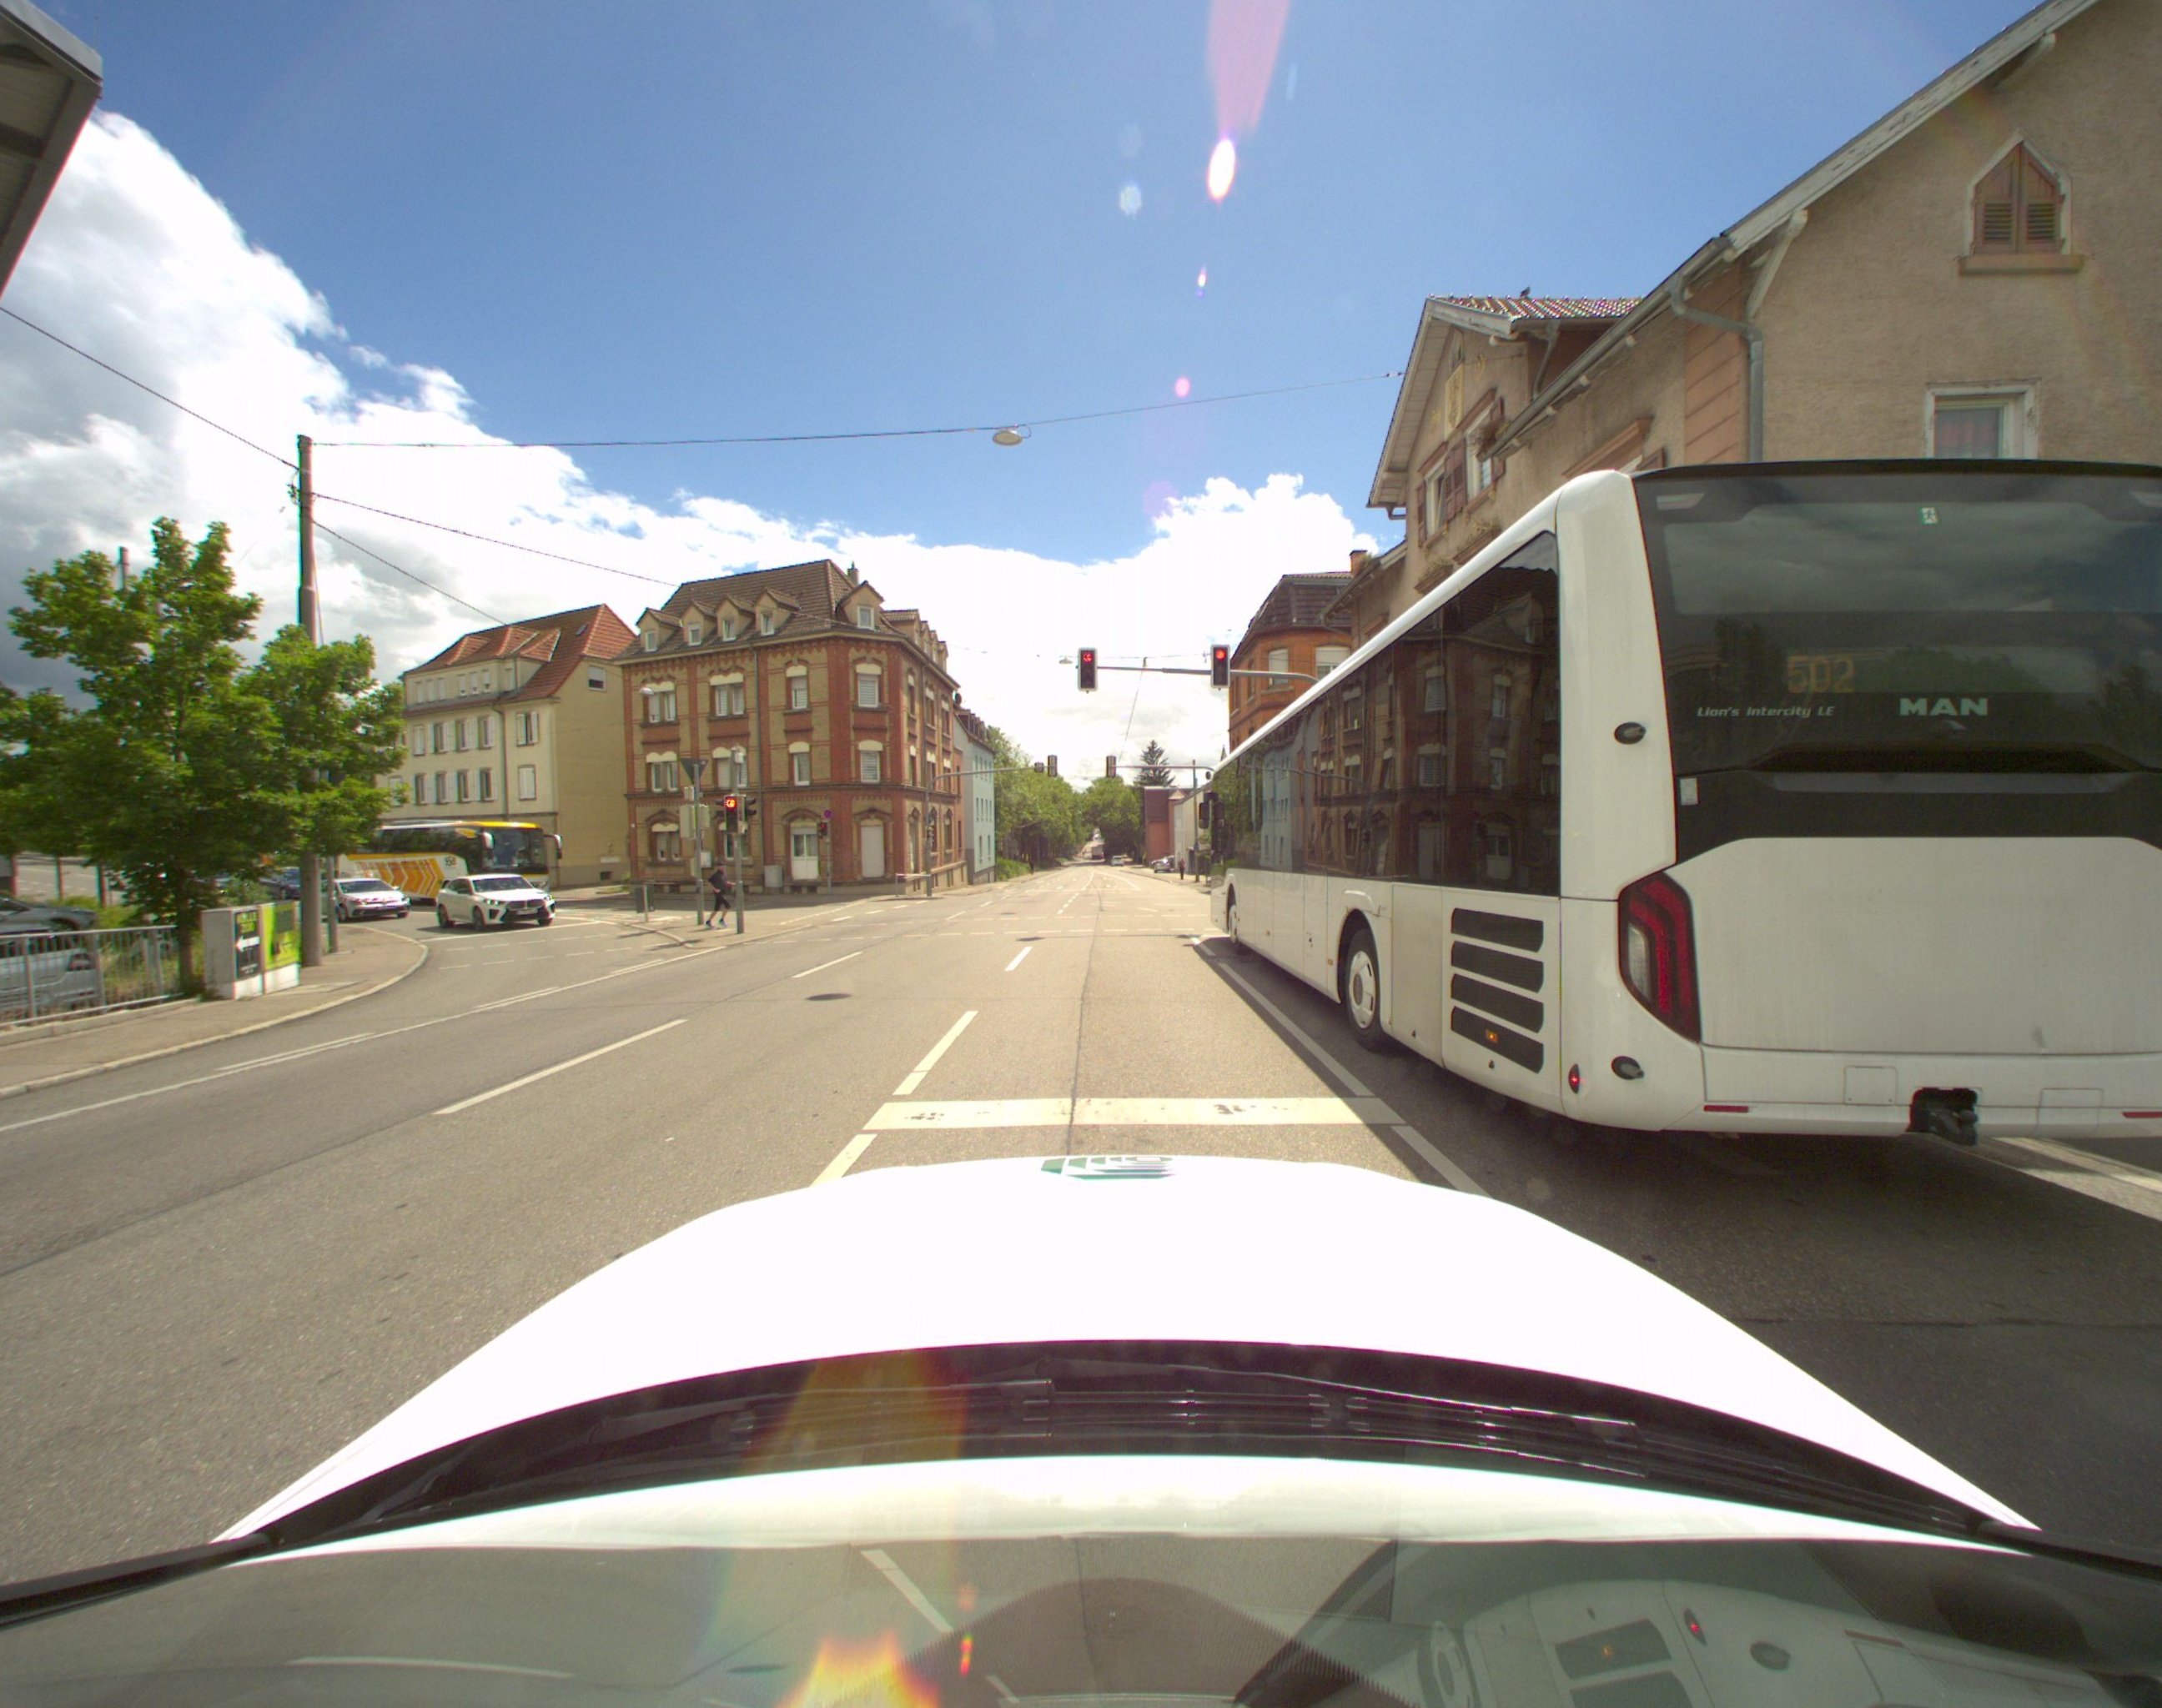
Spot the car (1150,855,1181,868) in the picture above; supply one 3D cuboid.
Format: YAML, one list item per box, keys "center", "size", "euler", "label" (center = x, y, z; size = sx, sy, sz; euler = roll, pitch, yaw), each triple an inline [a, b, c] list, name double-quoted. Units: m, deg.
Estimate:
- center: [11.770, 1.035, 113.077]
  size: [3.978, 1.757, 1.998]
  euler: [-2, 0, -3]
  label: "car"

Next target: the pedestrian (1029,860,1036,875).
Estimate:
- center: [-5.509, 1.524, 91.848]
  size: [0.727, 1.565, 0.561]
  euler: [-1, -1, 0]
  label: "pedestrian"

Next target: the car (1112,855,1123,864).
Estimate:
- center: [5.768, 0.939, 129.523]
  size: [1.787, 1.409, 4.001]
  euler: [-1, 0, 2]
  label: "car"

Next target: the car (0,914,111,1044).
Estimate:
- center: [-15.998, 1.796, 12.008]
  size: [3.321, 1.560, 1.692]
  euler: [0, 2, 32]
  label: "car"

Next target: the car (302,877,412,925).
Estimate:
- center: [-25.193, 1.632, 28.310]
  size: [3.574, 1.418, 1.897]
  euler: [-3, 2, 33]
  label: "car"

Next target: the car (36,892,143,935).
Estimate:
- center: [-37.429, 2.221, 30.747]
  size: [3.456, 1.448, 1.811]
  euler: [-2, 0, 26]
  label: "car"

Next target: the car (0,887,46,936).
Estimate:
- center: [-36.283, 1.921, 25.773]
  size: [1.785, 1.553, 4.023]
  euler: [-2, 0, 25]
  label: "car"

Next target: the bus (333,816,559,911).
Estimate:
- center: [-27.733, 0.480, 35.307]
  size: [12.109, 3.622, 2.788]
  euler: [-1, 0, 27]
  label: "bus"

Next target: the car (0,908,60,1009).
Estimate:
- center: [-19.538, 1.824, 14.162]
  size: [3.455, 1.526, 1.626]
  euler: [-1, 2, 29]
  label: "car"

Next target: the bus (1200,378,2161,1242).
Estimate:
- center: [3.421, -0.155, 9.260]
  size: [2.662, 3.155, 12.467]
  euler: [-2, 0, 2]
  label: "bus"

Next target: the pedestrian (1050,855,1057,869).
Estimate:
- center: [-4.114, 1.201, 122.549]
  size: [0.991, 2.013, 1.189]
  euler: [-2, 0, 1]
  label: "pedestrian"

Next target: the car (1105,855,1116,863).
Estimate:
- center: [5.283, 0.976, 145.919]
  size: [1.787, 1.409, 4.421]
  euler: [-1, 0, 3]
  label: "car"

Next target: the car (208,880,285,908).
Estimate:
- center: [-45.706, 2.186, 44.589]
  size: [3.949, 1.409, 1.923]
  euler: [-2, 0, 29]
  label: "car"

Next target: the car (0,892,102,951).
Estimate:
- center: [-29.534, 1.861, 22.138]
  size: [1.777, 1.477, 3.522]
  euler: [-2, 0, 32]
  label: "car"

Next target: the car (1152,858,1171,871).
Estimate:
- center: [9.224, 1.168, 93.022]
  size: [1.788, 1.409, 4.000]
  euler: [-2, 0, 1]
  label: "car"

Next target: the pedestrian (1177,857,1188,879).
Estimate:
- center: [8.037, 1.126, 64.646]
  size: [0.736, 1.750, 0.619]
  euler: [-2, 0, 1]
  label: "pedestrian"

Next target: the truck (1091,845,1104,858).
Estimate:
- center: [4.218, -0.573, 205.693]
  size: [2.917, 3.081, 7.883]
  euler: [-2, 0, 0]
  label: "truck"

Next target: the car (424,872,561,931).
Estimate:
- center: [-17.635, 1.383, 24.357]
  size: [4.250, 1.552, 1.845]
  euler: [-2, 0, 33]
  label: "car"

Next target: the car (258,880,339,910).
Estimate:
- center: [-39.187, 2.034, 40.780]
  size: [3.949, 1.409, 1.762]
  euler: [-2, 0, 28]
  label: "car"

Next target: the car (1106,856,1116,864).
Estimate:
- center: [5.739, 1.112, 154.018]
  size: [1.787, 1.409, 4.421]
  euler: [-1, 0, 3]
  label: "car"

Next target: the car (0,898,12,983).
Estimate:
- center: [-23.416, 1.772, 16.475]
  size: [3.455, 1.680, 1.663]
  euler: [-1, 2, 30]
  label: "car"

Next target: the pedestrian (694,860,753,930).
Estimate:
- center: [-9.207, 1.047, 21.002]
  size: [1.138, 1.734, 0.758]
  euler: [-2, 0, -3]
  label: "pedestrian"

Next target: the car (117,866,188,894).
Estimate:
- center: [-53.650, 1.499, 47.044]
  size: [3.949, 1.554, 1.923]
  euler: [-2, 0, 29]
  label: "car"
